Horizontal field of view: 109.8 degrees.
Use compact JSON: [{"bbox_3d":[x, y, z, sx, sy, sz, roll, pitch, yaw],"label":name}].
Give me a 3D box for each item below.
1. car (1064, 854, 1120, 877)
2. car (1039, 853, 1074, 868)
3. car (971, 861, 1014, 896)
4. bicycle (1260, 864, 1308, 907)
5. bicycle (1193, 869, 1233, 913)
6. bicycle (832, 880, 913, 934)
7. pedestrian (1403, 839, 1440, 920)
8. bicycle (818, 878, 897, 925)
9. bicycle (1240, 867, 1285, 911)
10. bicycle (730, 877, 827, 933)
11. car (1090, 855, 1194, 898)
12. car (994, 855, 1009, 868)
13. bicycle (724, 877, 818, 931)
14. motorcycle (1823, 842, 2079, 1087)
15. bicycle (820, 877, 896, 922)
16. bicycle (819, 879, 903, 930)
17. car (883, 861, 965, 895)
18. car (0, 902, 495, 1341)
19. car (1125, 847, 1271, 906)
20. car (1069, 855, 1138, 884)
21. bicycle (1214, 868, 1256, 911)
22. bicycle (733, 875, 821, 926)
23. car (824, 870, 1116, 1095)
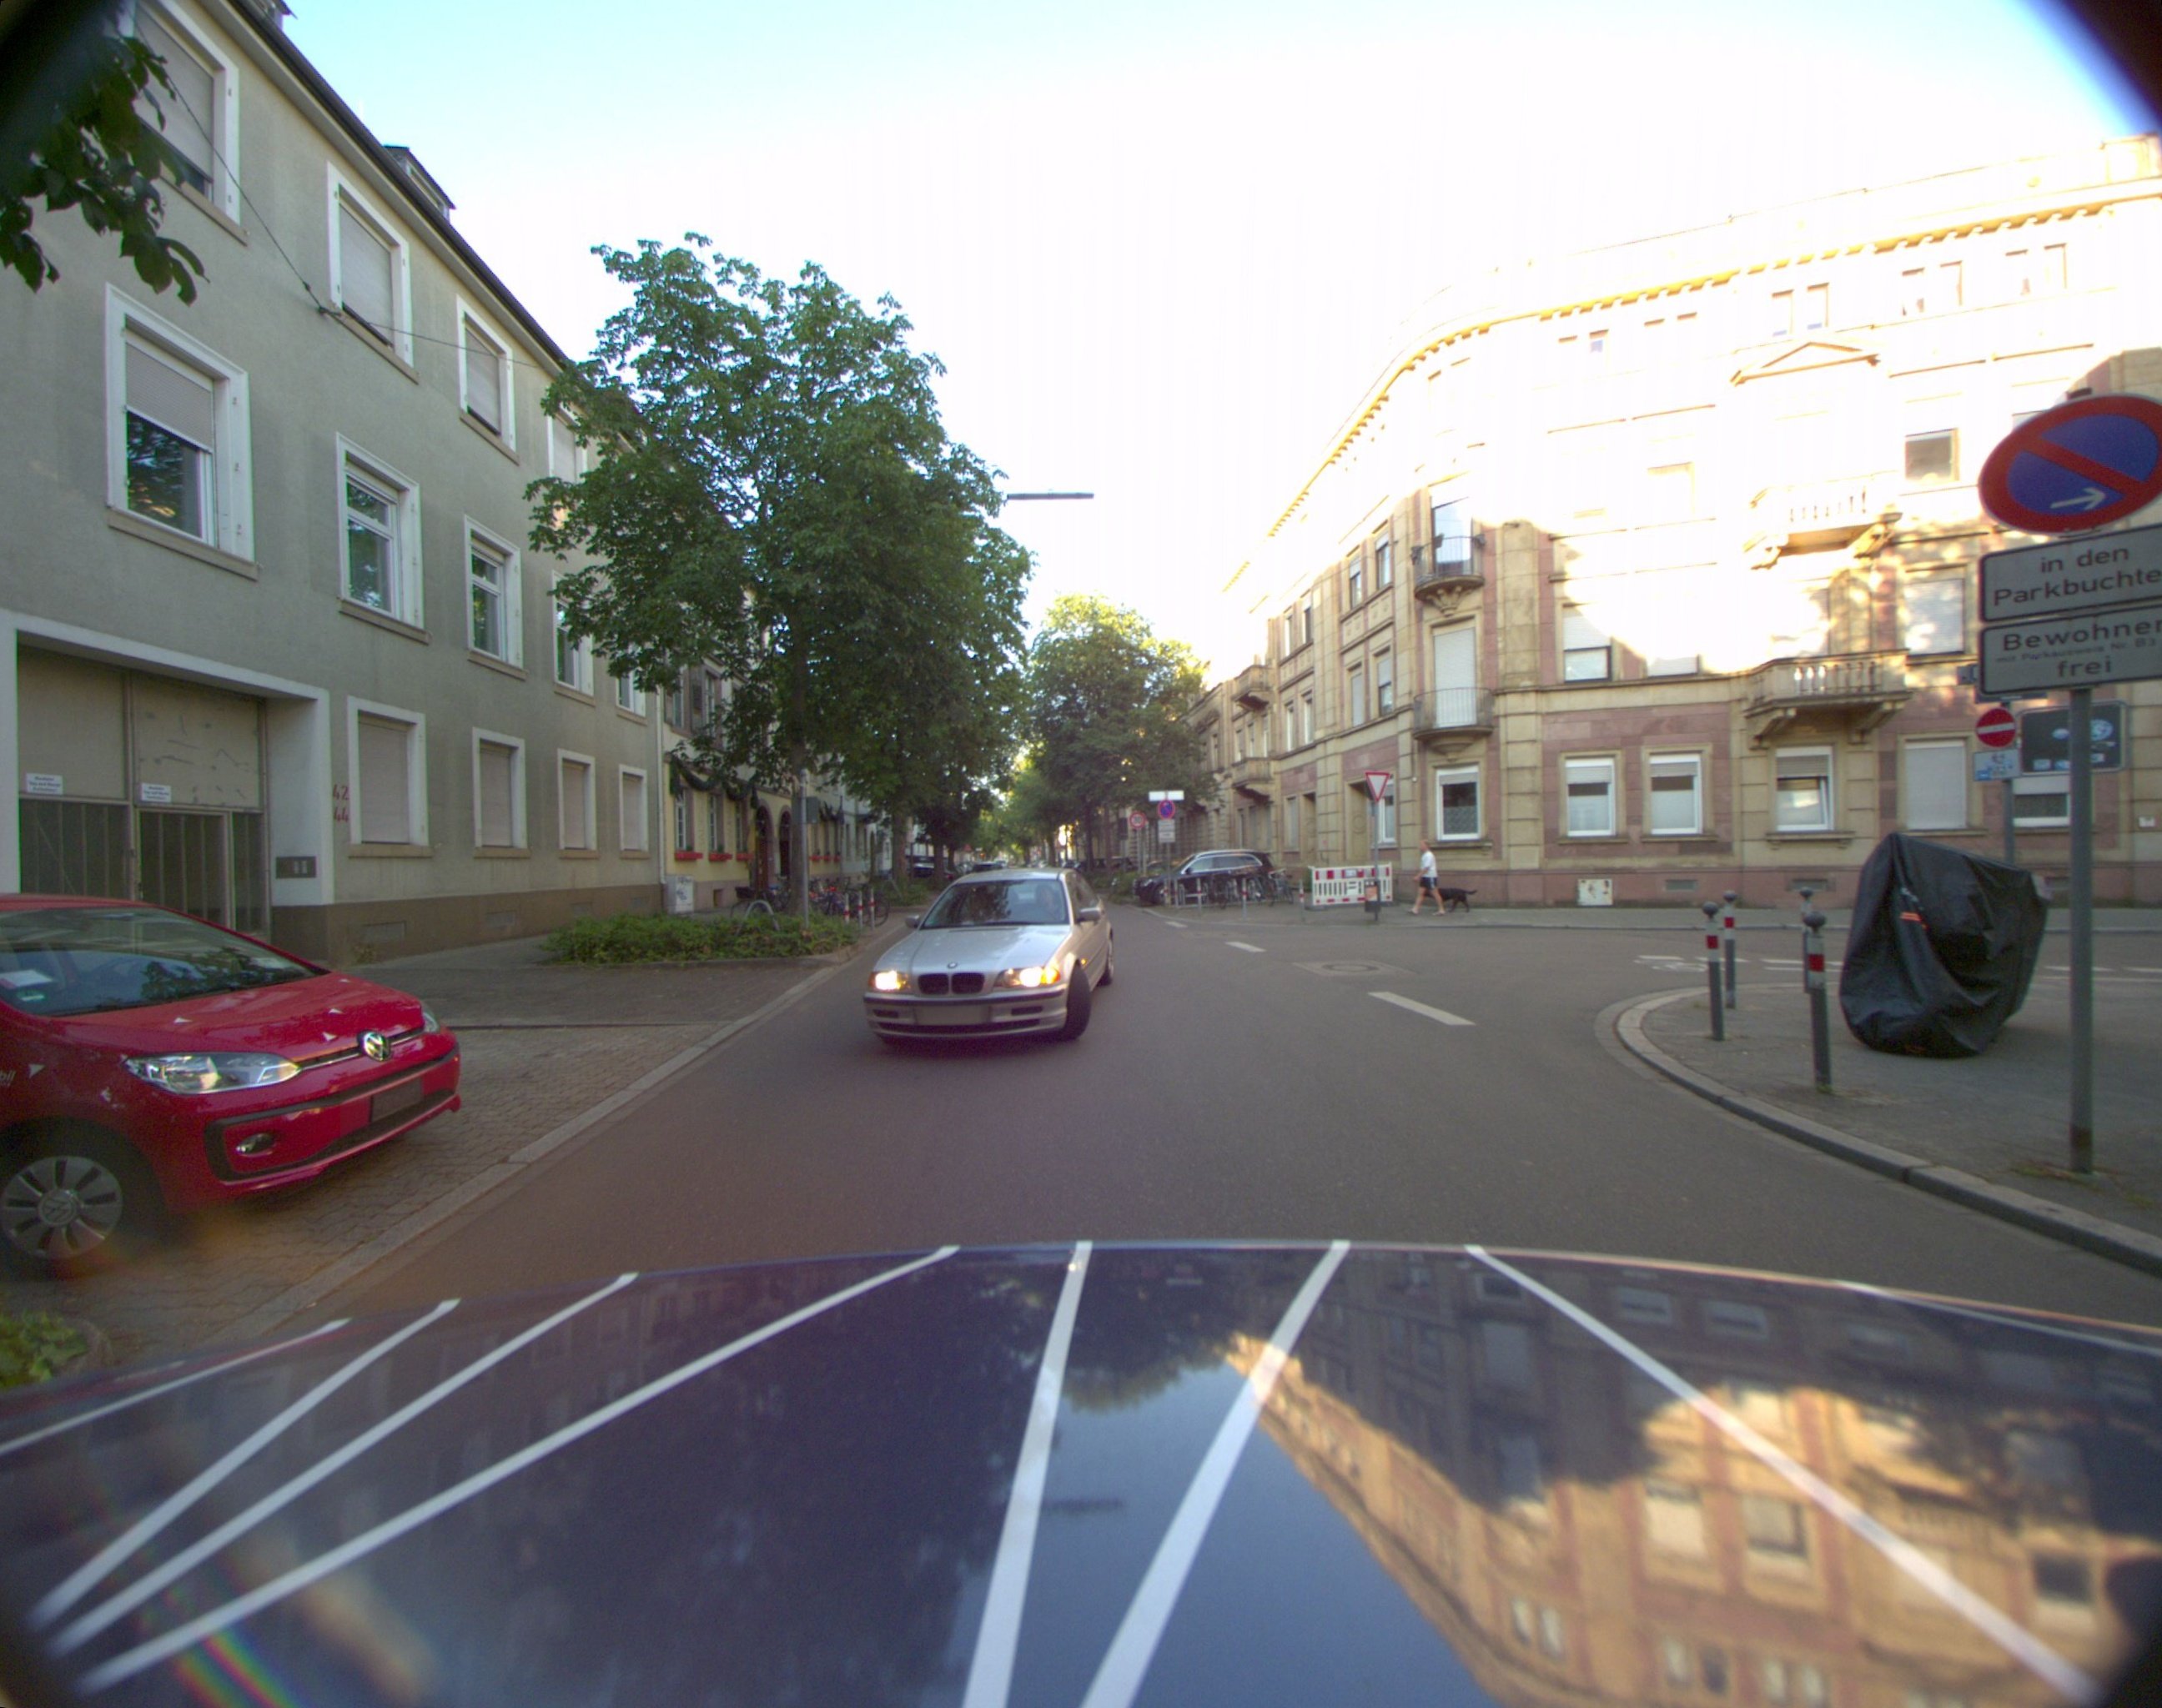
[{"bbox_3d":[0.858,0.880,60.854,4.245,1.749,1.741,-1,0,-5],"label":"car"},{"bbox_3d":[-2.986,0.808,92.540,4.245,1.749,1.741,-1,0,-5],"label":"car"},{"bbox_3d":[-4.181,1.119,36.395,1.806,1.543,3.998,-1,0,-4],"label":"car"},{"bbox_3d":[5.791,0.886,21.823,0.562,1.144,2.038,-1,0,-8],"label":"bicycle"},{"bbox_3d":[3.740,1.032,21.663,0.562,1.144,2.038,-1,0,-6],"label":"bicycle"},{"bbox_3d":[-5.040,1.262,18.401,1.849,1.220,0.535,-1,0,-16],"label":"bicycle"},{"bbox_3d":[7.749,0.574,17.291,0.649,1.797,0.574,-1,1,32],"label":"pedestrian"},{"bbox_3d":[-6.131,1.292,20.922,2.029,1.220,0.535,-1,0,-11],"label":"bicycle"},{"bbox_3d":[5.172,0.966,21.773,0.562,1.144,2.038,-1,0,-8],"label":"bicycle"},{"bbox_3d":[-7.037,1.177,17.751,2.030,1.220,0.535,-1,0,-16],"label":"bicycle"},{"bbox_3d":[2.526,0.921,32.091,4.243,1.668,1.742,-1,0,-1],"label":"car"},{"bbox_3d":[-10.157,0.911,96.749,1.806,1.543,3.998,-1,0,-5],"label":"car"},{"bbox_3d":[-7.497,1.187,18.454,2.030,1.220,0.535,-1,0,-16],"label":"bicycle"},{"bbox_3d":[6.493,0.682,5.640,2.286,1.496,0.816,-1,1,-30],"label":"motorcycle"},{"bbox_3d":[-6.372,1.292,21.792,2.029,1.220,0.535,-1,0,-11],"label":"bicycle"},{"bbox_3d":[-5.664,1.288,19.641,2.029,1.220,0.535,-1,0,-11],"label":"bicycle"},{"bbox_3d":[-8.559,1.284,41.672,4.245,1.729,1.741,-1,0,-6],"label":"car"},{"bbox_3d":[-5.167,1.047,3.421,3.621,1.468,1.663,-1,0,-7],"label":"car"},{"bbox_3d":[3.721,0.713,24.652,4.423,1.771,1.742,-1,0,-1],"label":"car"},{"bbox_3d":[1.405,0.968,48.384,4.245,1.749,1.741,-1,0,-5],"label":"car"},{"bbox_3d":[4.379,0.988,21.731,0.562,1.144,2.038,-1,0,-6],"label":"bicycle"},{"bbox_3d":[-7.818,1.187,19.600,2.029,1.220,0.535,-1,0,-13],"label":"bicycle"},{"bbox_3d":[-0.693,0.948,7.497,1.710,1.433,4.438,-1,0,7],"label":"car"}]
